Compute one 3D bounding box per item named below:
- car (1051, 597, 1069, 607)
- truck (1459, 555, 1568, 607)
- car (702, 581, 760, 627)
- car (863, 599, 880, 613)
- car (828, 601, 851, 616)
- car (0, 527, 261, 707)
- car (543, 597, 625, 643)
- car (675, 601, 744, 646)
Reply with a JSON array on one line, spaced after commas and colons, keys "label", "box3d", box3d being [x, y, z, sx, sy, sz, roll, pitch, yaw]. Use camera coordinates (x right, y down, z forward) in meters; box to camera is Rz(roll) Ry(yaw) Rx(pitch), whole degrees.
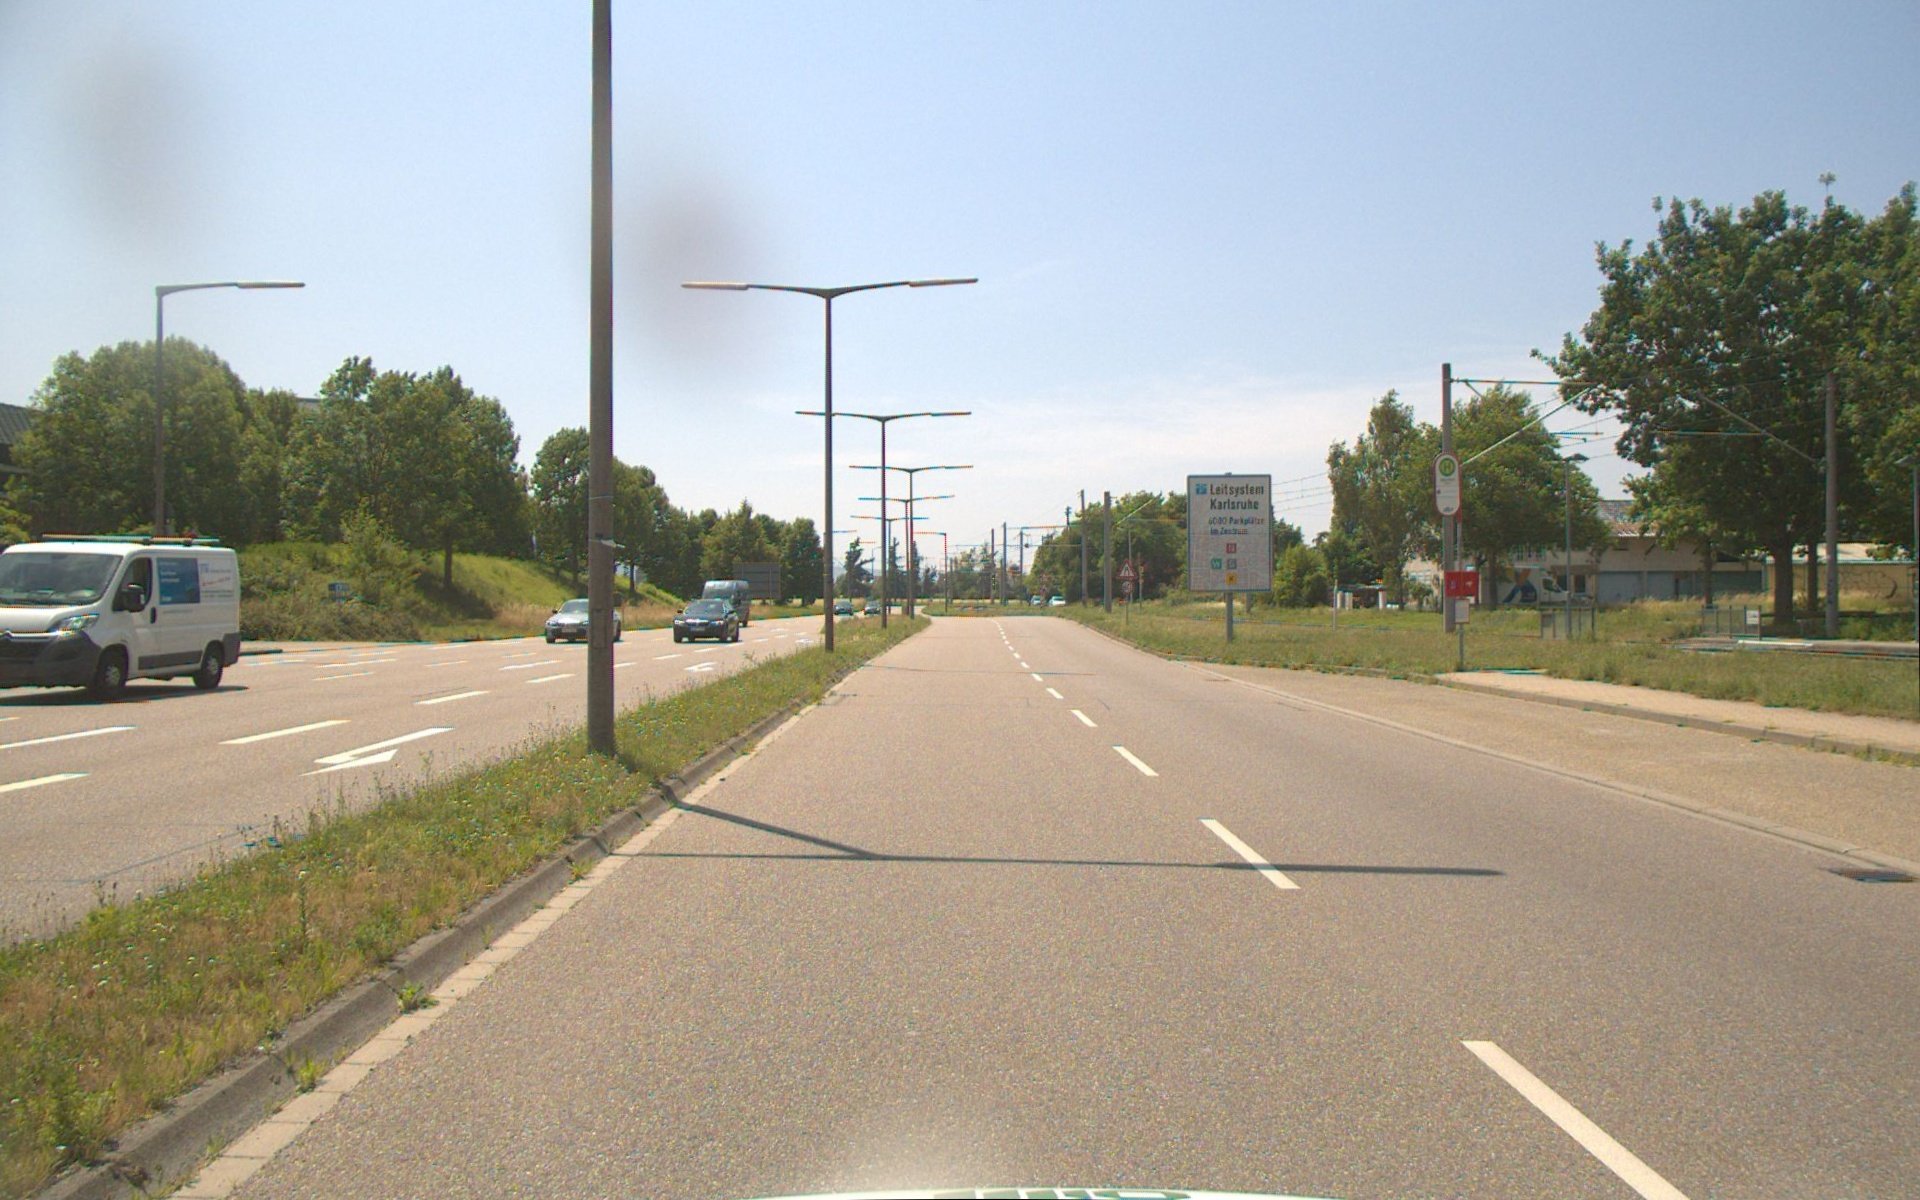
[{"label": "car", "box3d": [11.626, 0.217, 191.877, 1.533, 1.200, 3.075, -1, 0, -7]}, {"label": "truck", "box3d": [33.105, -1.127, 98.999, 5.732, 2.893, 2.316, -2, 0, -9]}, {"label": "car", "box3d": [-12.580, 0.218, 91.256, 2.128, 2.454, 5.673, 0, 0, 3]}, {"label": "car", "box3d": [-9.428, 0.614, 176.905, 1.658, 1.518, 3.999, -1, 0, -1]}, {"label": "car", "box3d": [-12.509, 0.882, 171.256, 1.952, 1.383, 4.666, -2, 0, 1]}, {"label": "car", "box3d": [-12.474, 0.214, 24.145, 2.203, 2.313, 5.448, 1, 0, 0]}, {"label": "car", "box3d": [-12.718, 0.660, 56.200, 1.794, 1.474, 4.849, -1, 0, -2]}, {"label": "car", "box3d": [-8.697, 0.802, 57.809, 1.695, 1.483, 4.564, -1, 0, 0]}]
